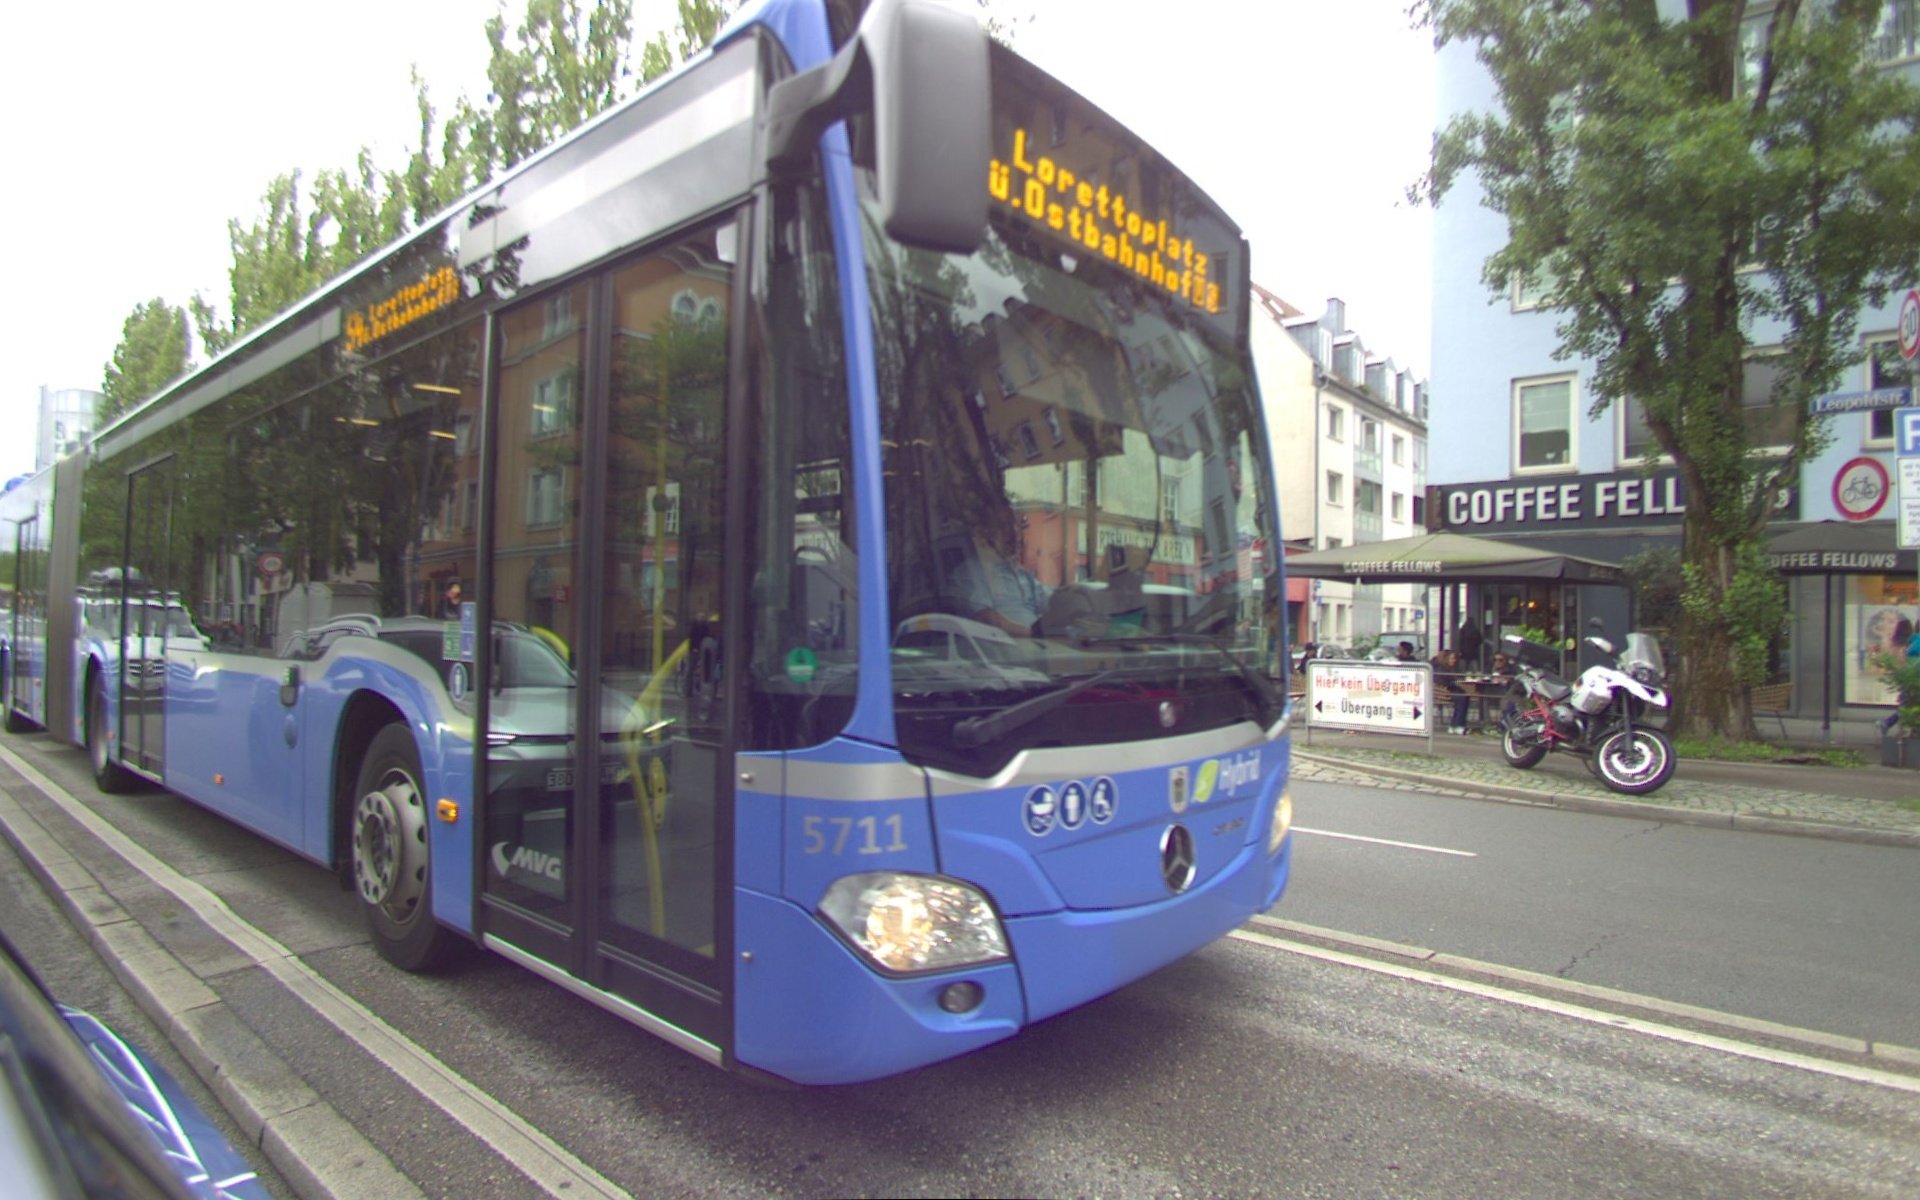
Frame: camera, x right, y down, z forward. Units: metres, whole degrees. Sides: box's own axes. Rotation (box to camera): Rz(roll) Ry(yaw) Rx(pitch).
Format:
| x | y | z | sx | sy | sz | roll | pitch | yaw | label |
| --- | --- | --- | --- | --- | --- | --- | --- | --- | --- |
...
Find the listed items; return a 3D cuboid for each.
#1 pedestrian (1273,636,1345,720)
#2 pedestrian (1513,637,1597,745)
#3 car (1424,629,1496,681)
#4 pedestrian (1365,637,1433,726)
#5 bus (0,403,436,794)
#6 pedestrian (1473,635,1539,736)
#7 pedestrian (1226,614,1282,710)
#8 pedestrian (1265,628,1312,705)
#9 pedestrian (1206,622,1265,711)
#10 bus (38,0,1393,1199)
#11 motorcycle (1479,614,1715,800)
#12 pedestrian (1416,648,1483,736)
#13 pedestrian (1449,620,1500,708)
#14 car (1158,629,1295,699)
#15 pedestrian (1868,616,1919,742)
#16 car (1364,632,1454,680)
| x | y | z | sx | sy | sz | roll | pitch | yaw | label |
| --- | --- | --- | --- | --- | --- | --- | --- | --- | --- |
| 5.962 | 1.305 | 17.301 | 0.950 | 1.373 | 0.690 | -1 | -3 | 44 | pedestrian |
| 7.878 | 1.178 | 13.411 | 0.847 | 1.373 | 0.690 | -1 | -3 | 40 | pedestrian |
| 23.926 | 2.630 | 48.374 | 1.983 | 2.384 | 4.523 | -1 | -4 | 42 | car |
| 7.049 | 1.288 | 16.249 | 0.819 | 1.373 | 0.690 | -1 | -3 | 44 | pedestrian |
| -9.704 | 0.081 | 12.012 | 10.047 | 2.972 | 2.655 | -1 | -2 | 41 | bus |
| 7.737 | 1.186 | 14.345 | 0.699 | 1.373 | 0.706 | -1 | -3 | 39 | pedestrian |
| 6.079 | 1.263 | 20.929 | 0.905 | 1.941 | 0.690 | -1 | -3 | 44 | pedestrian |
| 7.108 | 1.425 | 21.899 | 0.732 | 1.636 | 0.690 | -1 | -3 | 44 | pedestrian |
| 5.559 | 1.325 | 20.422 | 0.950 | 1.735 | 0.690 | -1 | -3 | 44 | pedestrian |
| -2.999 | -0.056 | 6.161 | 10.047 | 2.972 | 2.661 | -1 | -2 | 41 | bus |
| 6.014 | 0.928 | 9.771 | 0.704 | 1.575 | 2.348 | 0 | -1 | -2 | motorcycle |
| 7.012 | 1.297 | 14.496 | 0.699 | 1.192 | 0.807 | -1 | -3 | 39 | pedestrian |
| 10.715 | 1.309 | 21.105 | 0.692 | 1.786 | 0.947 | 0 | -2 | 10 | pedestrian |
| 7.570 | 1.784 | 28.432 | 1.982 | 1.780 | 4.525 | -1 | -4 | 40 | car |
| 12.839 | 1.050 | 13.556 | 0.951 | 1.659 | 0.690 | -1 | -3 | 44 | pedestrian |
| 17.972 | 2.248 | 40.426 | 2.116 | 1.780 | 4.525 | -1 | -4 | 40 | car |
